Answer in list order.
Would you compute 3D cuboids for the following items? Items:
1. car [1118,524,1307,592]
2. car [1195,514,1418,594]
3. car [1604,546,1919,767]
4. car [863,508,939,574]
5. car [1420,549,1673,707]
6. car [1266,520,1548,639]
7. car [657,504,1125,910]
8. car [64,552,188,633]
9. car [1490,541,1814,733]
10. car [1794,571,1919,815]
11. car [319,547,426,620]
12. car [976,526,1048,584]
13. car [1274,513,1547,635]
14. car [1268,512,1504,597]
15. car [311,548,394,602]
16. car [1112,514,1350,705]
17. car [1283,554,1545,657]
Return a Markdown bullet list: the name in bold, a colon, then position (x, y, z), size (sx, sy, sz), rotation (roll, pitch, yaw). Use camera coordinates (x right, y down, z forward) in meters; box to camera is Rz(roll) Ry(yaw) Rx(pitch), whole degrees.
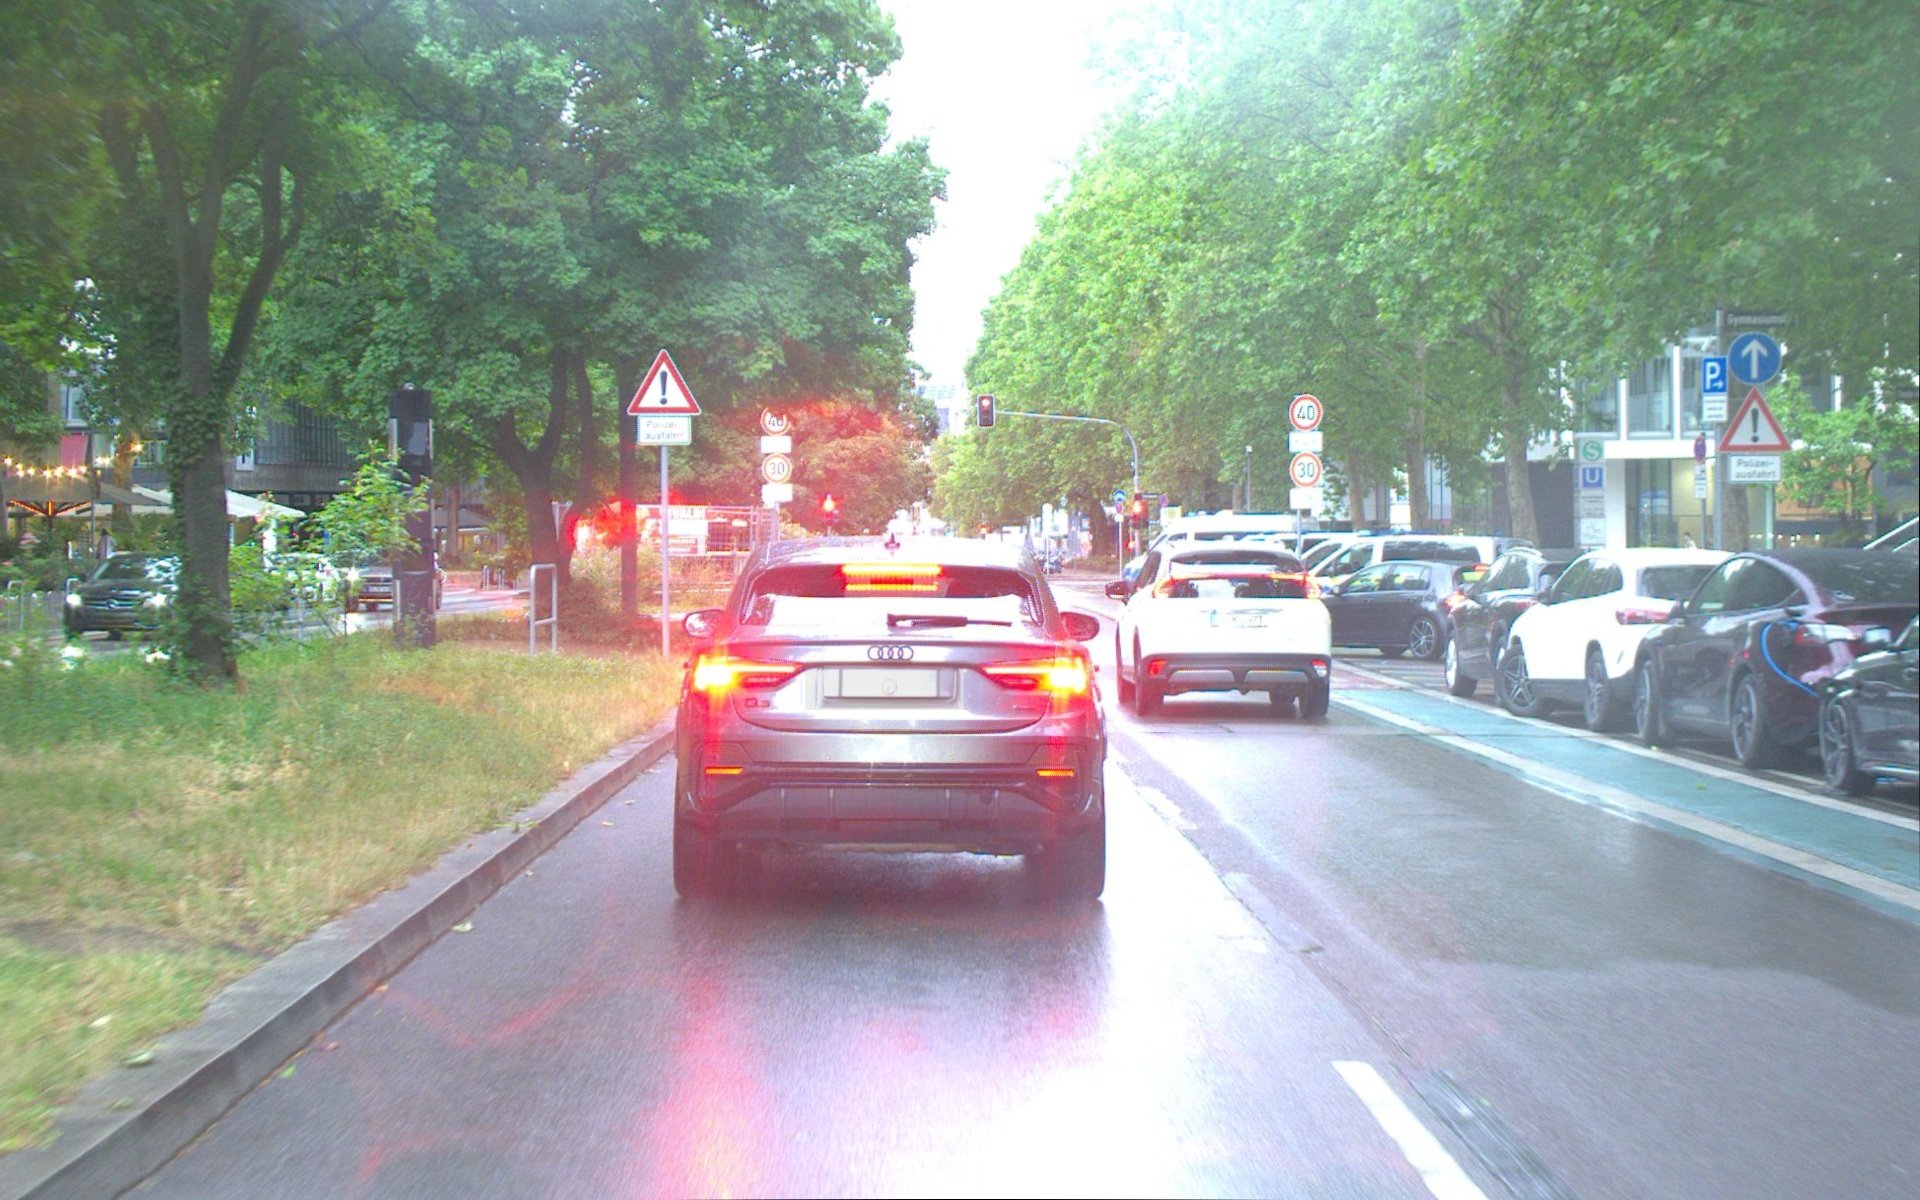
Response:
- **car**: position (6.807, -1.137, 92.672), size (4.645, 1.700, 1.997), rotation (2, 0, 27)
- **car**: position (7.920, -1.052, 78.641), size (4.645, 1.700, 1.997), rotation (2, 0, 27)
- **car**: position (6.418, 0.394, 26.361), size (1.867, 1.515, 4.559), rotation (2, 0, -3)
- **car**: position (-1.652, -1.615, 94.734), size (1.993, 1.721, 4.000), rotation (2, 0, -1)
- **car**: position (6.101, 0.265, 36.195), size (1.695, 1.518, 4.024), rotation (2, 0, -4)
- **car**: position (7.980, -0.379, 61.541), size (4.602, 2.007, 1.964), rotation (2, 0, 37)
- **car**: position (-0.341, 0.402, 15.742), size (1.849, 1.596, 4.000), rotation (1, 1, -2)
- **car**: position (-13.951, -0.138, 57.636), size (1.688, 1.253, 3.645), rotation (2, 0, -9)
- **car**: position (6.145, 0.298, 30.991), size (1.727, 1.566, 4.074), rotation (2, 0, -5)
- **car**: position (6.542, 0.566, 20.573), size (1.873, 1.416, 4.611), rotation (2, 1, -1)
- **car**: position (-14.392, -0.397, 84.387), size (1.760, 1.698, 4.333), rotation (2, 0, 1)
- **car**: position (1.543, -1.338, 103.133), size (1.993, 1.645, 4.000), rotation (2, 0, -1)
- **car**: position (8.860, -0.512, 67.761), size (4.889, 2.246, 1.997), rotation (2, 0, 28)
- **car**: position (9.240, -0.994, 74.621), size (4.645, 1.700, 1.997), rotation (2, 0, 27)
- **car**: position (-17.729, -0.721, 100.476), size (1.726, 1.513, 4.000), rotation (2, 0, 0)
- **car**: position (2.559, 0.077, 33.302), size (1.878, 1.691, 4.000), rotation (2, 0, -1)
- **car**: position (6.509, 0.056, 49.635), size (1.558, 1.374, 3.870), rotation (2, 0, -33)
